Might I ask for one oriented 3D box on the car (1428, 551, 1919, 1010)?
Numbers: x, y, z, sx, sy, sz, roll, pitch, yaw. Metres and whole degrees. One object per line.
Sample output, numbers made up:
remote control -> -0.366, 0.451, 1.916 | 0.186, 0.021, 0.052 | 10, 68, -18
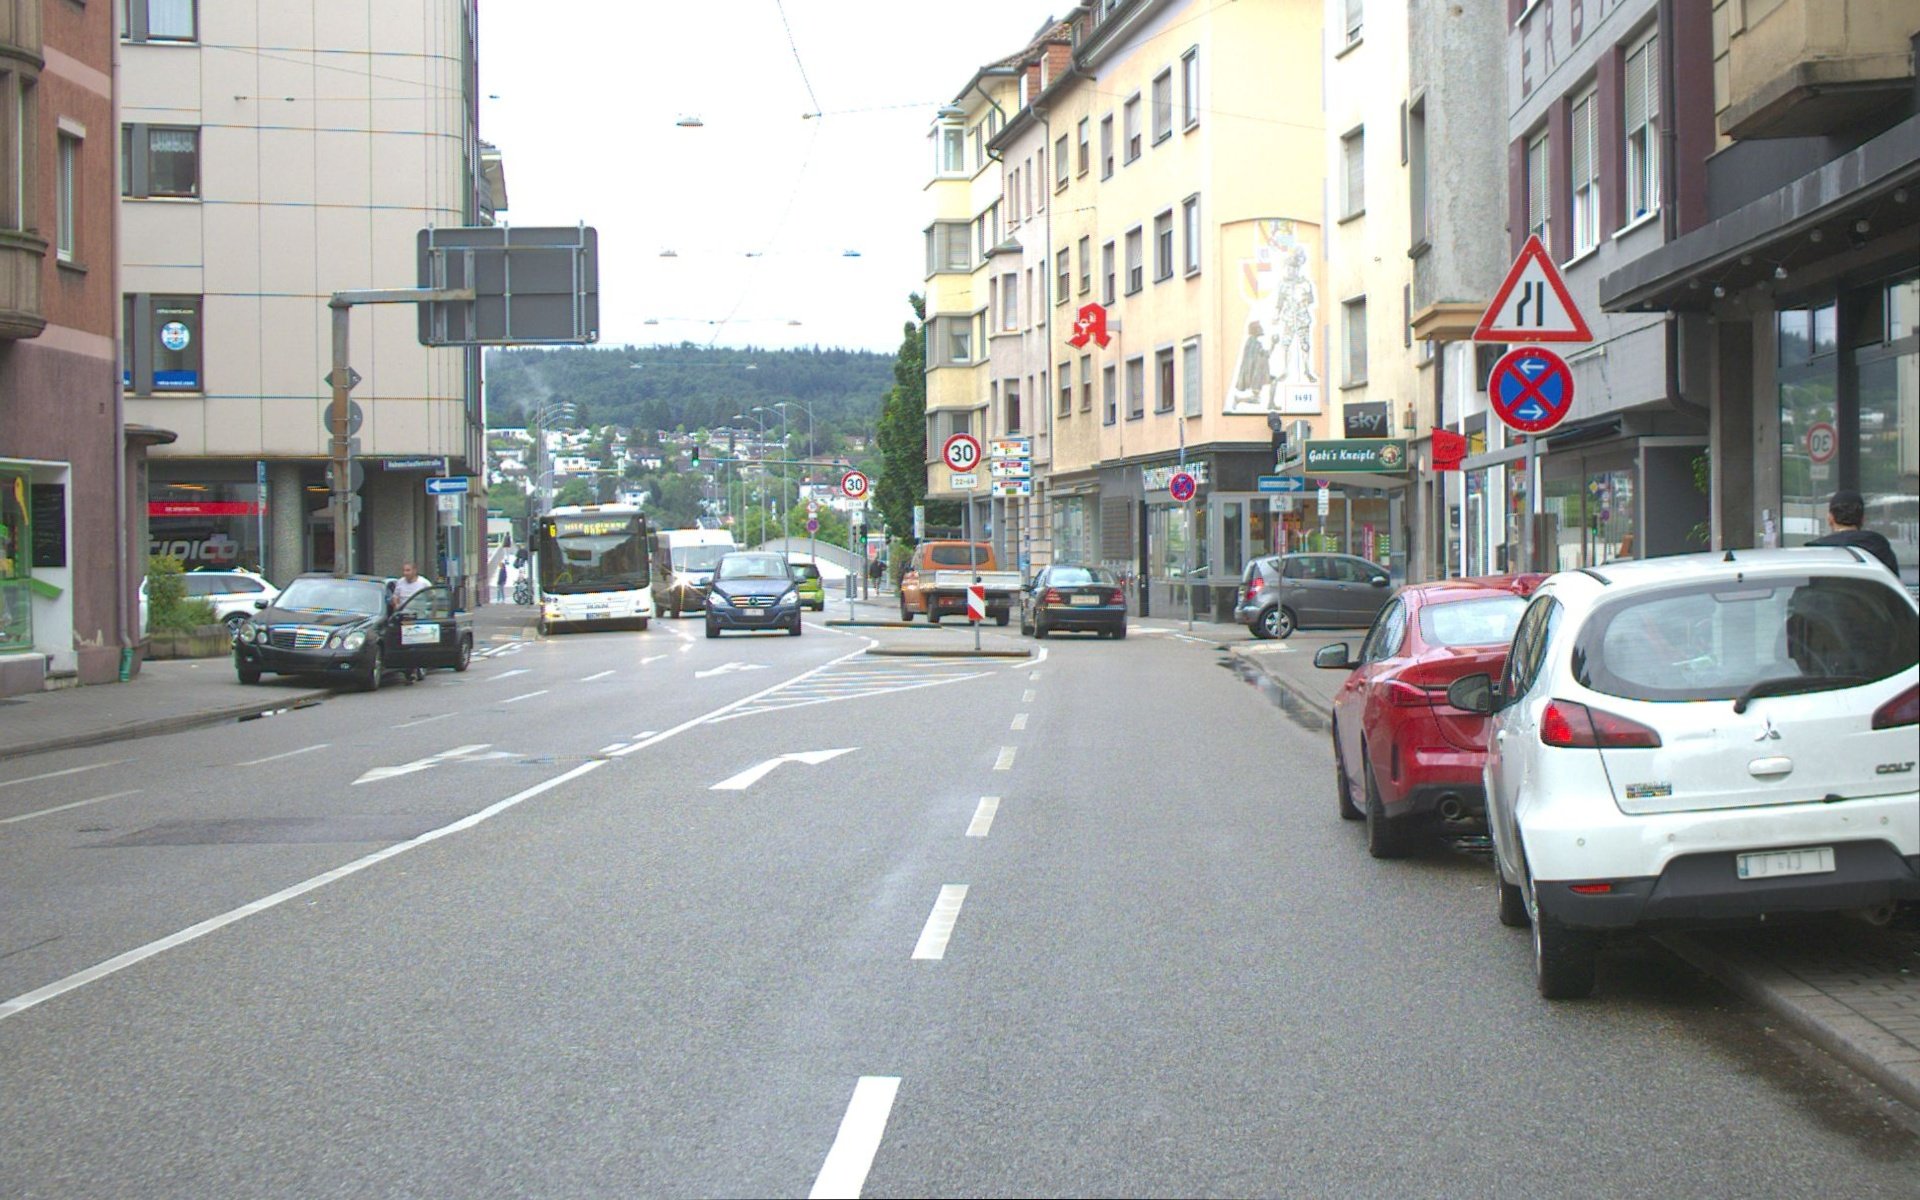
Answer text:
car -> 2.855, 0.580, 13.549 | 1.647, 1.489, 4.447 | -1, 0, 4

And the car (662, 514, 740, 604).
car -> -7.360, -1.126, 97.538 | 2.086, 2.427, 6.354 | -1, 0, -4

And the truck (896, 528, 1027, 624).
truck -> -0.015, -0.560, 80.359 | 2.399, 2.122, 5.316 | -1, 0, -7

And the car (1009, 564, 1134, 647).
car -> 2.063, 0.098, 64.650 | 1.754, 1.474, 4.001 | -1, 0, -6

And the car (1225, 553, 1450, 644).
car -> 6.938, -0.030, 63.436 | 3.824, 1.568, 1.937 | -1, 0, -4

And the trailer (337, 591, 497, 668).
trailer -> -7.775, 0.405, 49.436 | 1.588, 0.946, 3.056 | 4, 1, 4

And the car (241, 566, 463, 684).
car -> -7.960, 0.285, 45.447 | 1.850, 1.393, 4.792 | 2, 1, 2

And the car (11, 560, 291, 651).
car -> -14.734, 0.094, 62.630 | 4.627, 1.527, 1.906 | -1, 0, -26

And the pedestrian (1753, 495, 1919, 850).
pedestrian -> 4.560, 0.362, 17.670 | 0.744, 1.773, 0.795 | -1, 0, 0

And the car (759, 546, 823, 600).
car -> -5.381, -0.848, 109.333 | 1.754, 1.646, 4.001 | -1, 0, -6

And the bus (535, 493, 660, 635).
bus -> -8.754, -0.841, 82.569 | 2.758, 3.177, 8.913 | -1, 0, -7

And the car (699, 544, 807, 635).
car -> -3.992, -0.206, 65.720 | 1.754, 1.646, 4.308 | -1, 0, -7

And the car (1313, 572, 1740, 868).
car -> 3.002, 0.574, 19.037 | 1.744, 1.364, 4.315 | -1, 1, 2

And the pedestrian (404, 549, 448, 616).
pedestrian -> -12.725, -0.419, 81.990 | 0.945, 1.584, 0.835 | -1, 0, -4
